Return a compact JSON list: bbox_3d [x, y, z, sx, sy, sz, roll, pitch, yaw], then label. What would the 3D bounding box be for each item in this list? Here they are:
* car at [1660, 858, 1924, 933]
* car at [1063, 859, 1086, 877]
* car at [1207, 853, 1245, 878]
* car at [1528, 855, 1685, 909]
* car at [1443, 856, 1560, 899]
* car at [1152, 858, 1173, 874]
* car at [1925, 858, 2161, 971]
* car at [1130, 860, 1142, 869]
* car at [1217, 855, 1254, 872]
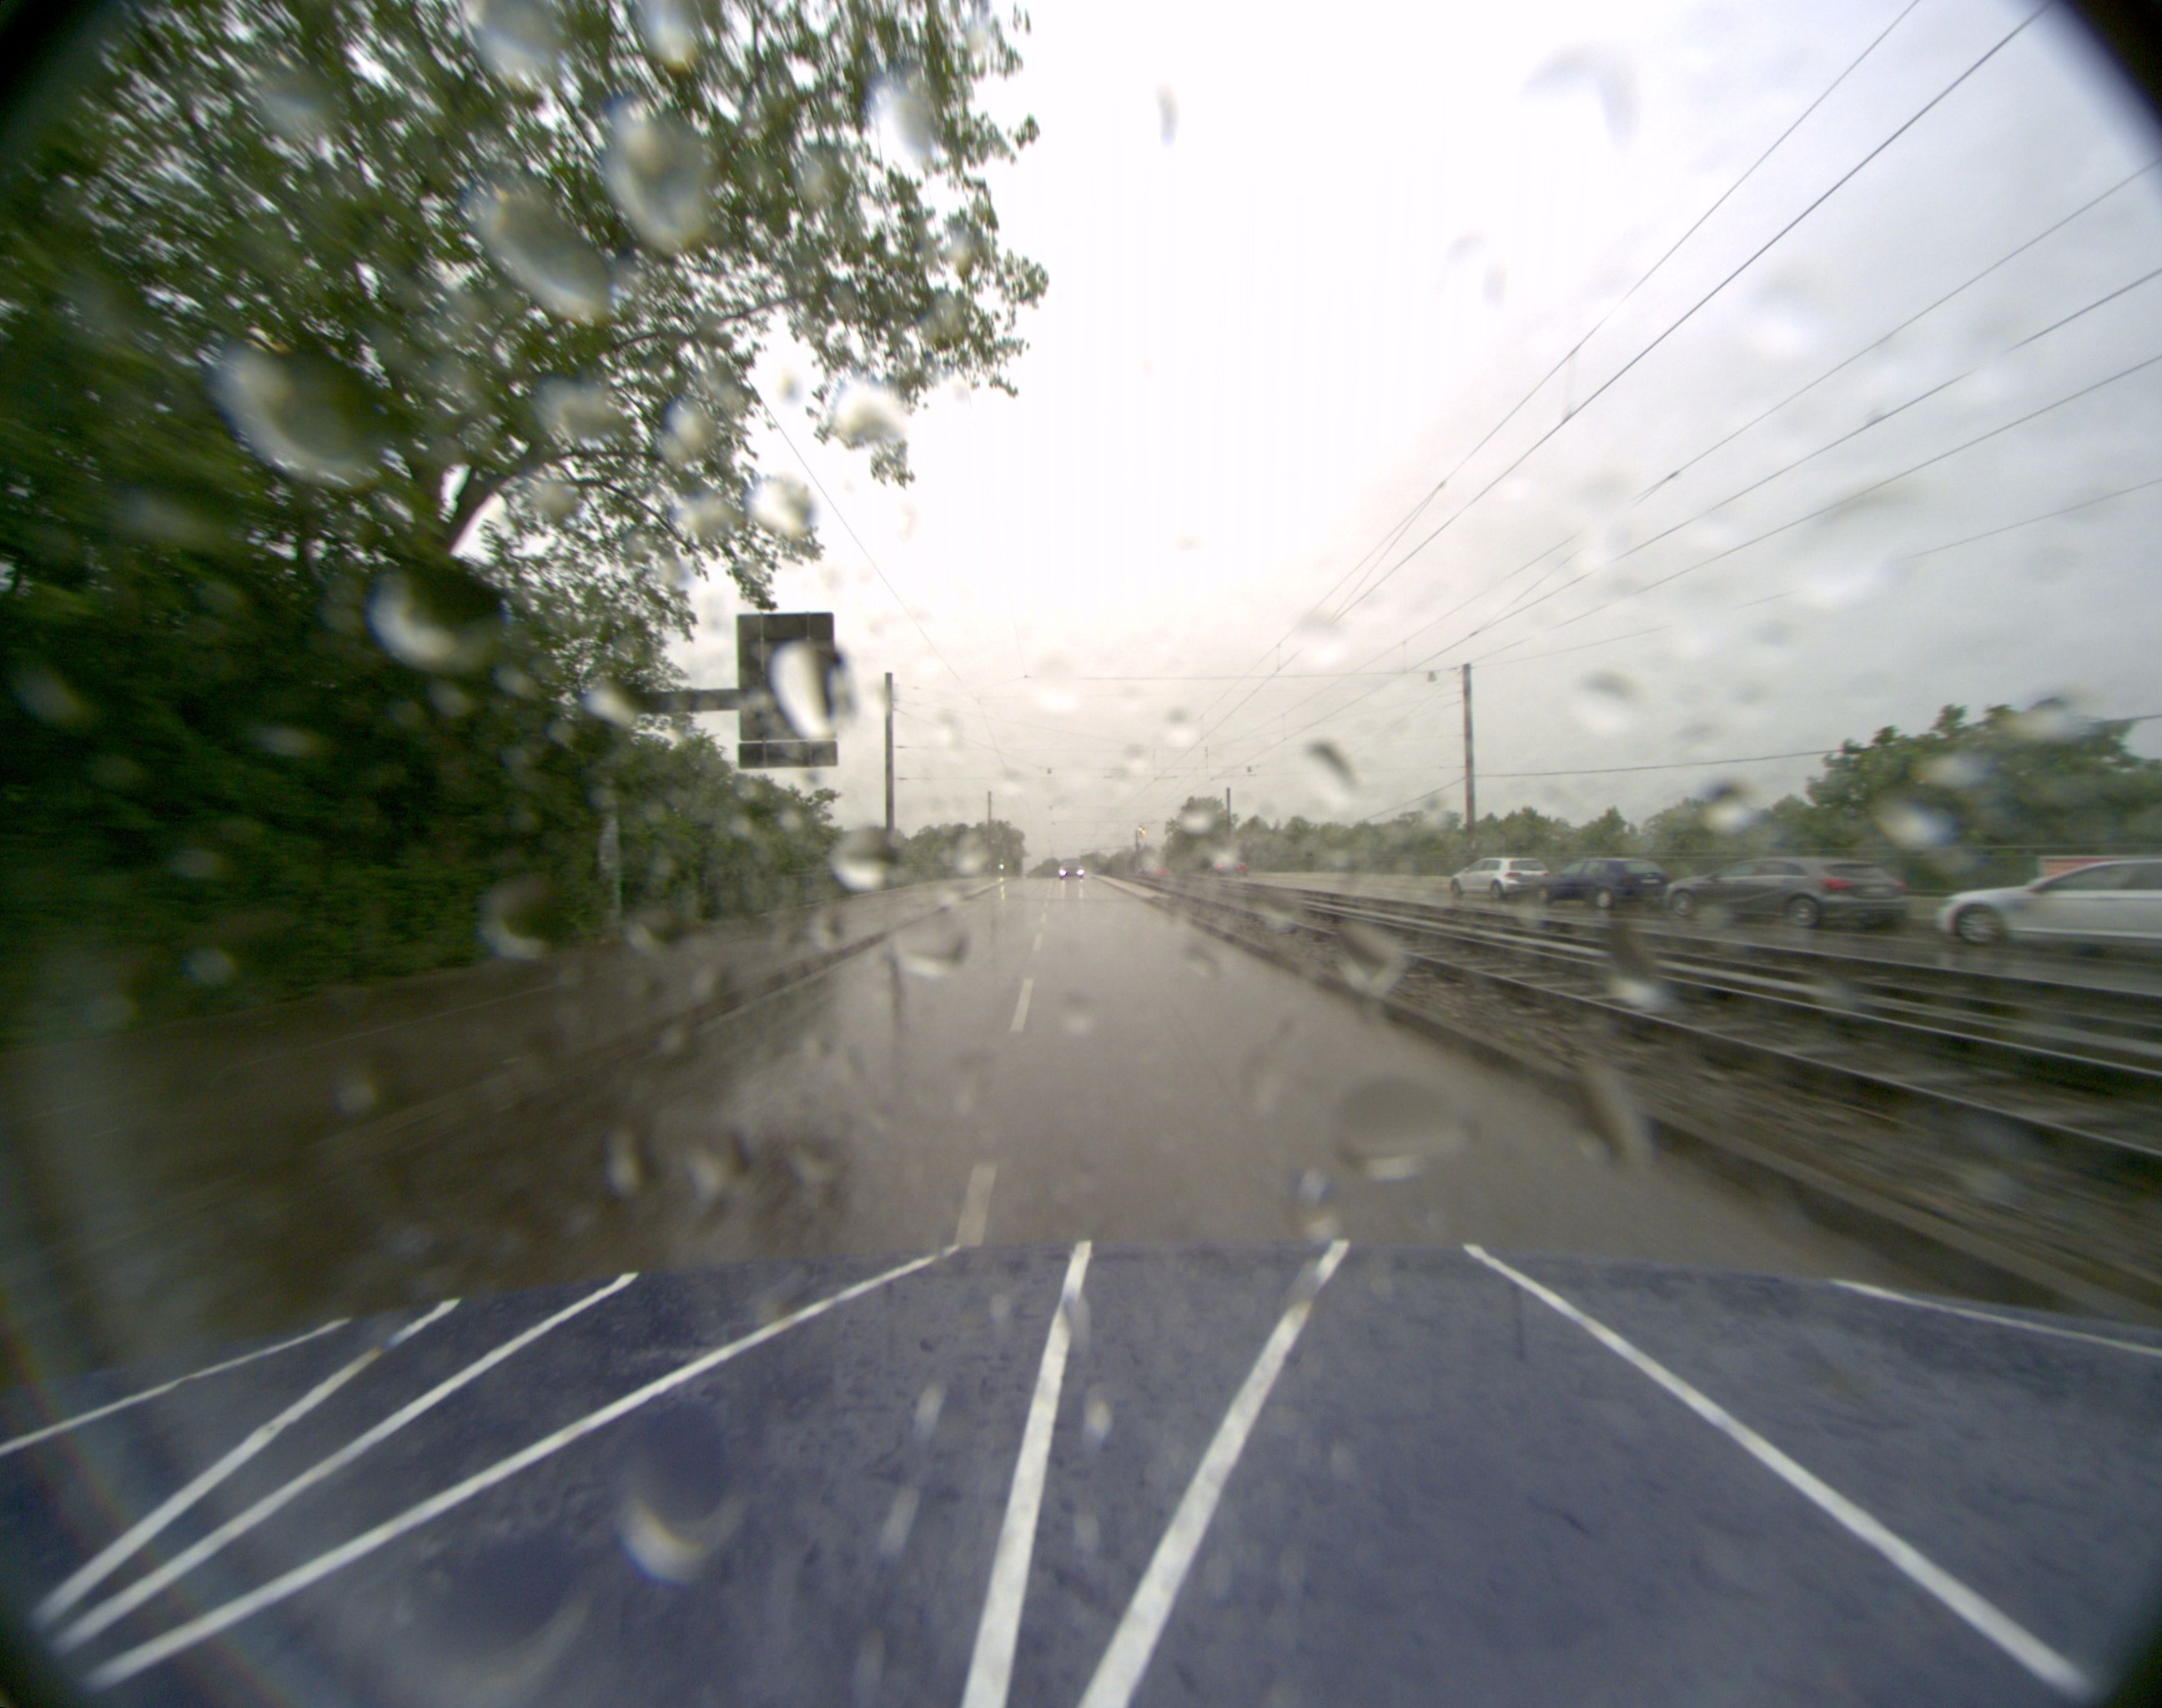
[{"bbox_3d":[15.197,0.799,16.607,1.653,1.423,4.130,0,0,-6],"label":"car"},{"bbox_3d":[-0.526,1.137,62.473,1.726,1.425,3.851,-2,0,0],"label":"car"},{"bbox_3d":[10.773,0.835,56.747,1.999,1.706,3.999,-2,1,0],"label":"car"},{"bbox_3d":[15.179,0.760,22.236,1.653,1.423,3.924,0,0,-5],"label":"car"},{"bbox_3d":[14.898,0.771,27.181,1.653,1.423,4.151,0,0,-5],"label":"car"},{"bbox_3d":[9.672,1.357,90.214,1.998,1.706,3.999,-2,1,1],"label":"car"},{"bbox_3d":[15.365,0.817,10.639,1.891,1.502,4.577,0,0,-3],"label":"car"},{"bbox_3d":[10.748,2.043,148.866,1.998,1.706,3.999,-2,1,1],"label":"car"},{"bbox_3d":[13.850,0.835,68.369,2.039,1.458,4.917,-2,0,-3],"label":"car"}]
